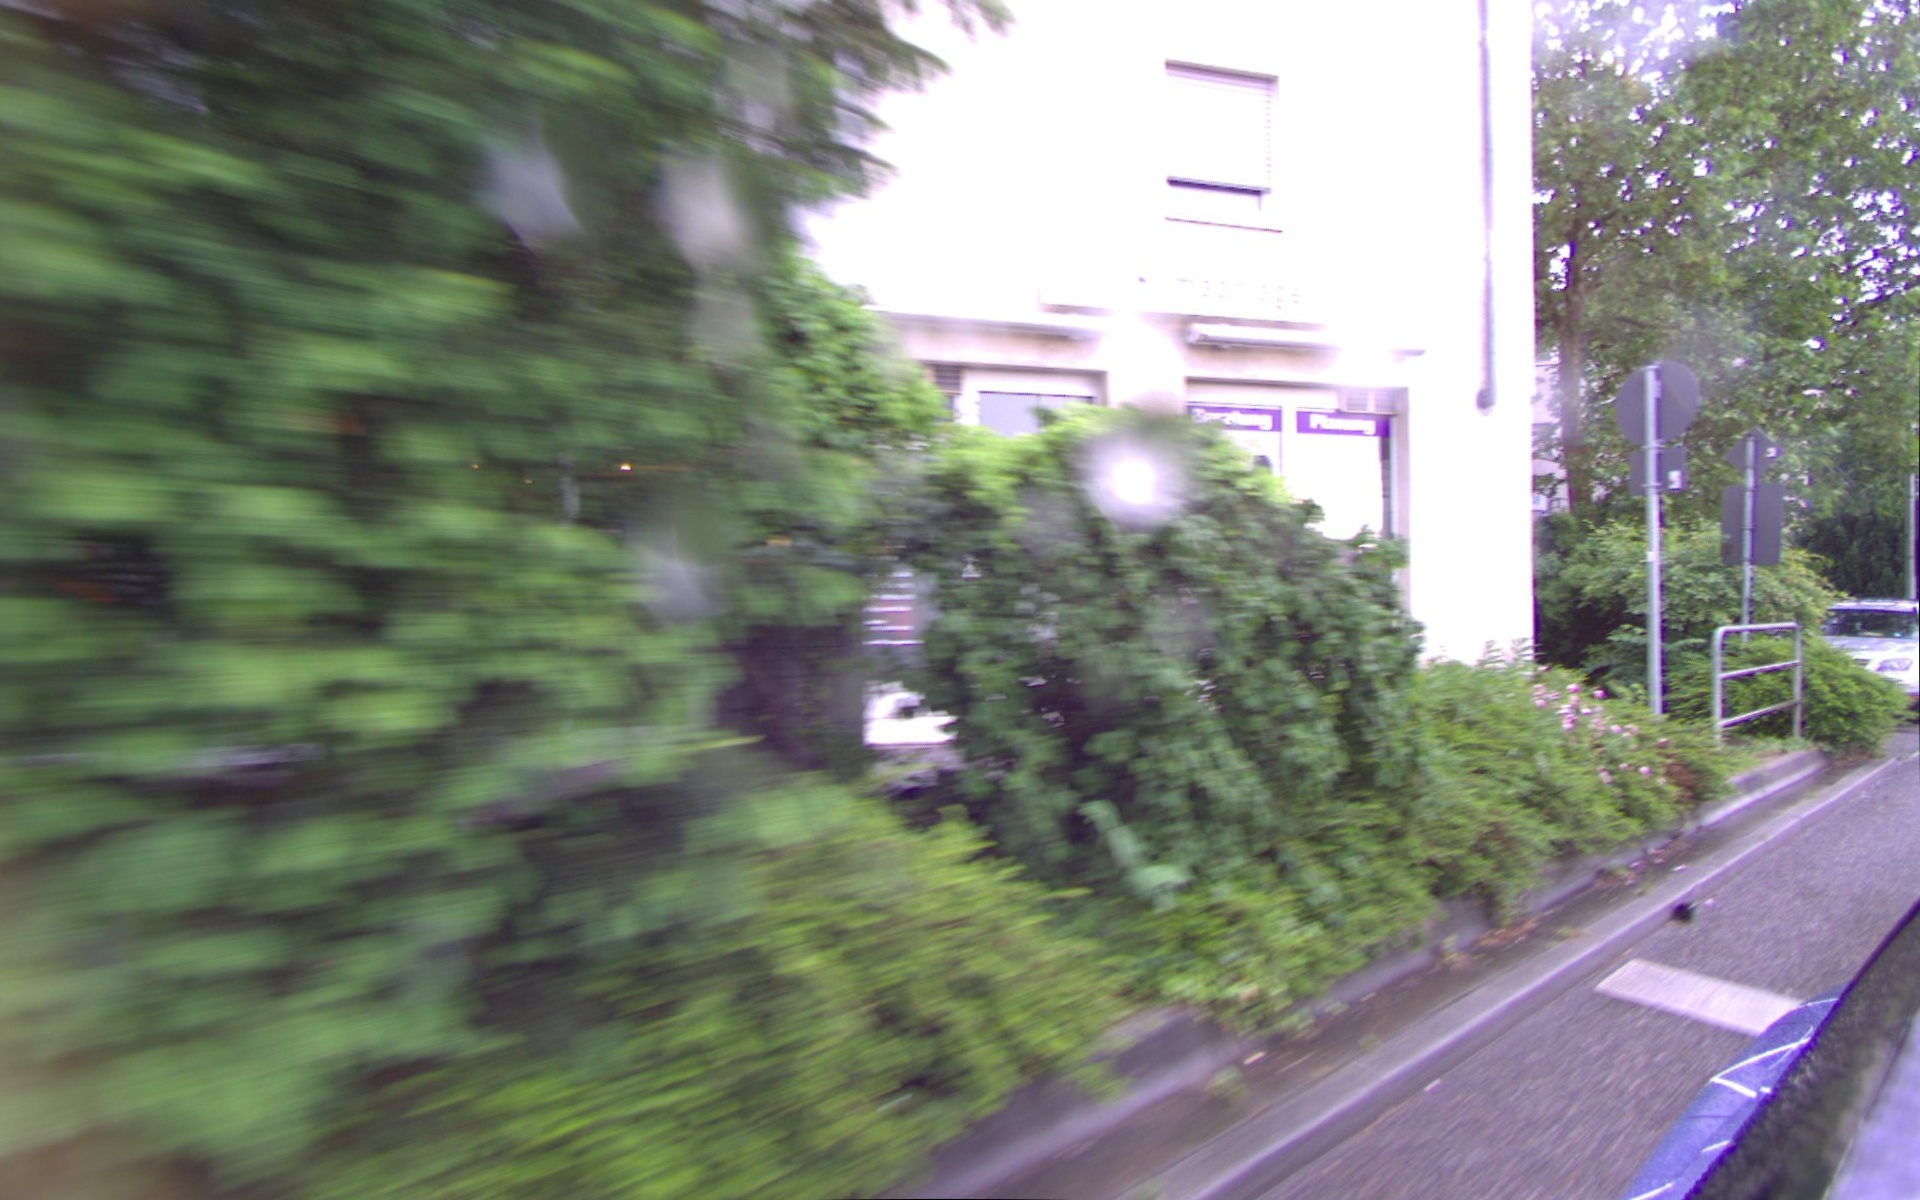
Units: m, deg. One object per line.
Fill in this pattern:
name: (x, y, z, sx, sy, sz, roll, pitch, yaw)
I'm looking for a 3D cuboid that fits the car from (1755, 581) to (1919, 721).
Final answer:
car: (13.769, 0.653, 15.104, 4.646, 1.803, 1.936, 0, 0, -38)
